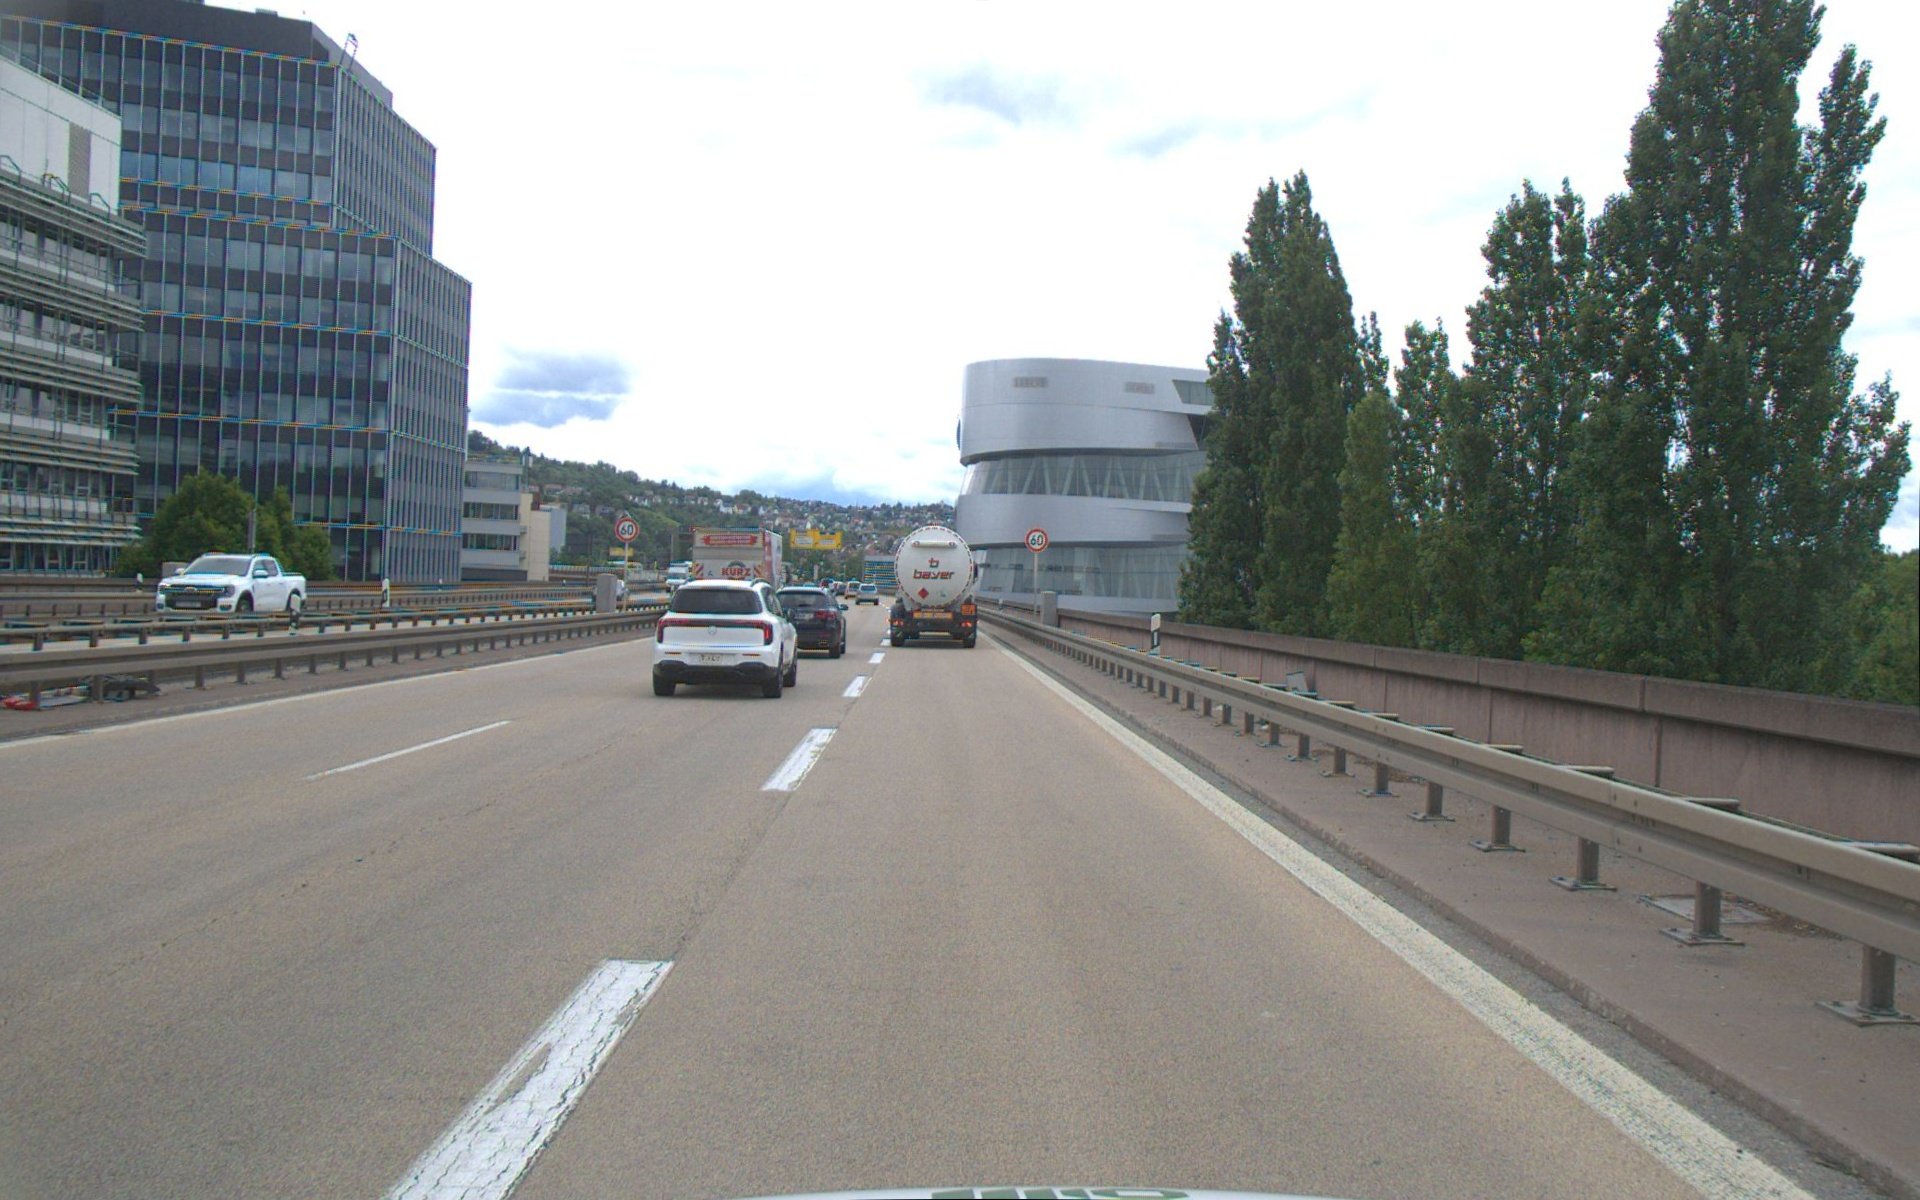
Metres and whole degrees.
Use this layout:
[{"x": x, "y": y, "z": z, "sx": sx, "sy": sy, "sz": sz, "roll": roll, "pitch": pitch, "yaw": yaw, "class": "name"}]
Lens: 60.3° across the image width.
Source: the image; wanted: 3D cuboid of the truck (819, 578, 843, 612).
[{"x": -18.428, "y": -0.670, "z": 236.376, "sx": 2.999, "sy": 4.642, "sz": 8.291, "roll": 1, "pitch": 0, "yaw": -7, "class": "truck"}]

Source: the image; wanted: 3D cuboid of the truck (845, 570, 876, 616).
[{"x": -10.344, "y": -0.725, "z": 172.233, "sx": 2.996, "sy": 4.642, "sz": 8.299, "roll": 1, "pitch": 0, "yaw": -3, "class": "truck"}]

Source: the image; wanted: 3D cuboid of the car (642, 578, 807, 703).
[{"x": -3.481, "y": 0.578, "z": 25.283, "sx": 1.953, "sy": 1.704, "sz": 4.407, "roll": 1, "pitch": 0, "yaw": -1, "class": "car"}]

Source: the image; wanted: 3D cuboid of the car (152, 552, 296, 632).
[{"x": -17.495, "y": -0.177, "z": 39.514, "sx": 1.750, "sy": 1.750, "sz": 3.774, "roll": 2, "pitch": 0, "yaw": -1, "class": "car"}]

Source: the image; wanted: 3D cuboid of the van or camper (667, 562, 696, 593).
[{"x": -28.359, "y": -2.229, "z": 168.654, "sx": 2.128, "sy": 3.061, "sz": 7.112, "roll": 1, "pitch": 0, "yaw": -4, "class": "van or camper"}]

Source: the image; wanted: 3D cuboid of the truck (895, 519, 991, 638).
[{"x": -0.627, "y": -0.664, "z": 55.566, "sx": 2.953, "sy": 3.721, "sz": 6.271, "roll": 1, "pitch": 0, "yaw": -2, "class": "truck"}]

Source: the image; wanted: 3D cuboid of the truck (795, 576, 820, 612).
[{"x": -20.235, "y": -0.768, "z": 219.376, "sx": 2.999, "sy": 4.642, "sz": 8.291, "roll": 1, "pitch": 0, "yaw": -7, "class": "truck"}]

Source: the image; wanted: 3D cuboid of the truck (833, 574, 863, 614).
[{"x": -13.302, "y": -0.706, "z": 196.016, "sx": 2.999, "sy": 4.642, "sz": 8.291, "roll": 1, "pitch": 0, "yaw": -7, "class": "truck"}]

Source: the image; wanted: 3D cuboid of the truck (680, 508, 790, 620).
[{"x": -8.058, "y": -1.213, "z": 60.308, "sx": 2.995, "sy": 3.755, "sz": 8.301, "roll": 1, "pitch": 0, "yaw": -1, "class": "truck"}]

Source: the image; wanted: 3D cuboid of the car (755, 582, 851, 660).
[{"x": -3.683, "y": 0.479, "z": 39.491, "sx": 1.953, "sy": 1.704, "sz": 4.407, "roll": 1, "pitch": 0, "yaw": -1, "class": "car"}]

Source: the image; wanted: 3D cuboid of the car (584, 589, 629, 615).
[{"x": -20.596, "y": 0.119, "z": 96.585, "sx": 1.750, "sy": 1.401, "sz": 4.228, "roll": 2, "pitch": 0, "yaw": -1, "class": "car"}]

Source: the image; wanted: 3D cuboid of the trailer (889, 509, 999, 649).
[{"x": -0.540, "y": -0.593, "z": 50.425, "sx": 2.995, "sy": 3.856, "sz": 8.301, "roll": 1, "pitch": 0, "yaw": -1, "class": "trailer"}]

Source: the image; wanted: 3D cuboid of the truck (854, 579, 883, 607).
[{"x": -7.476, "y": -0.597, "z": 135.681, "sx": 2.210, "sy": 2.201, "sz": 5.066, "roll": 1, "pitch": 0, "yaw": -2, "class": "truck"}]
